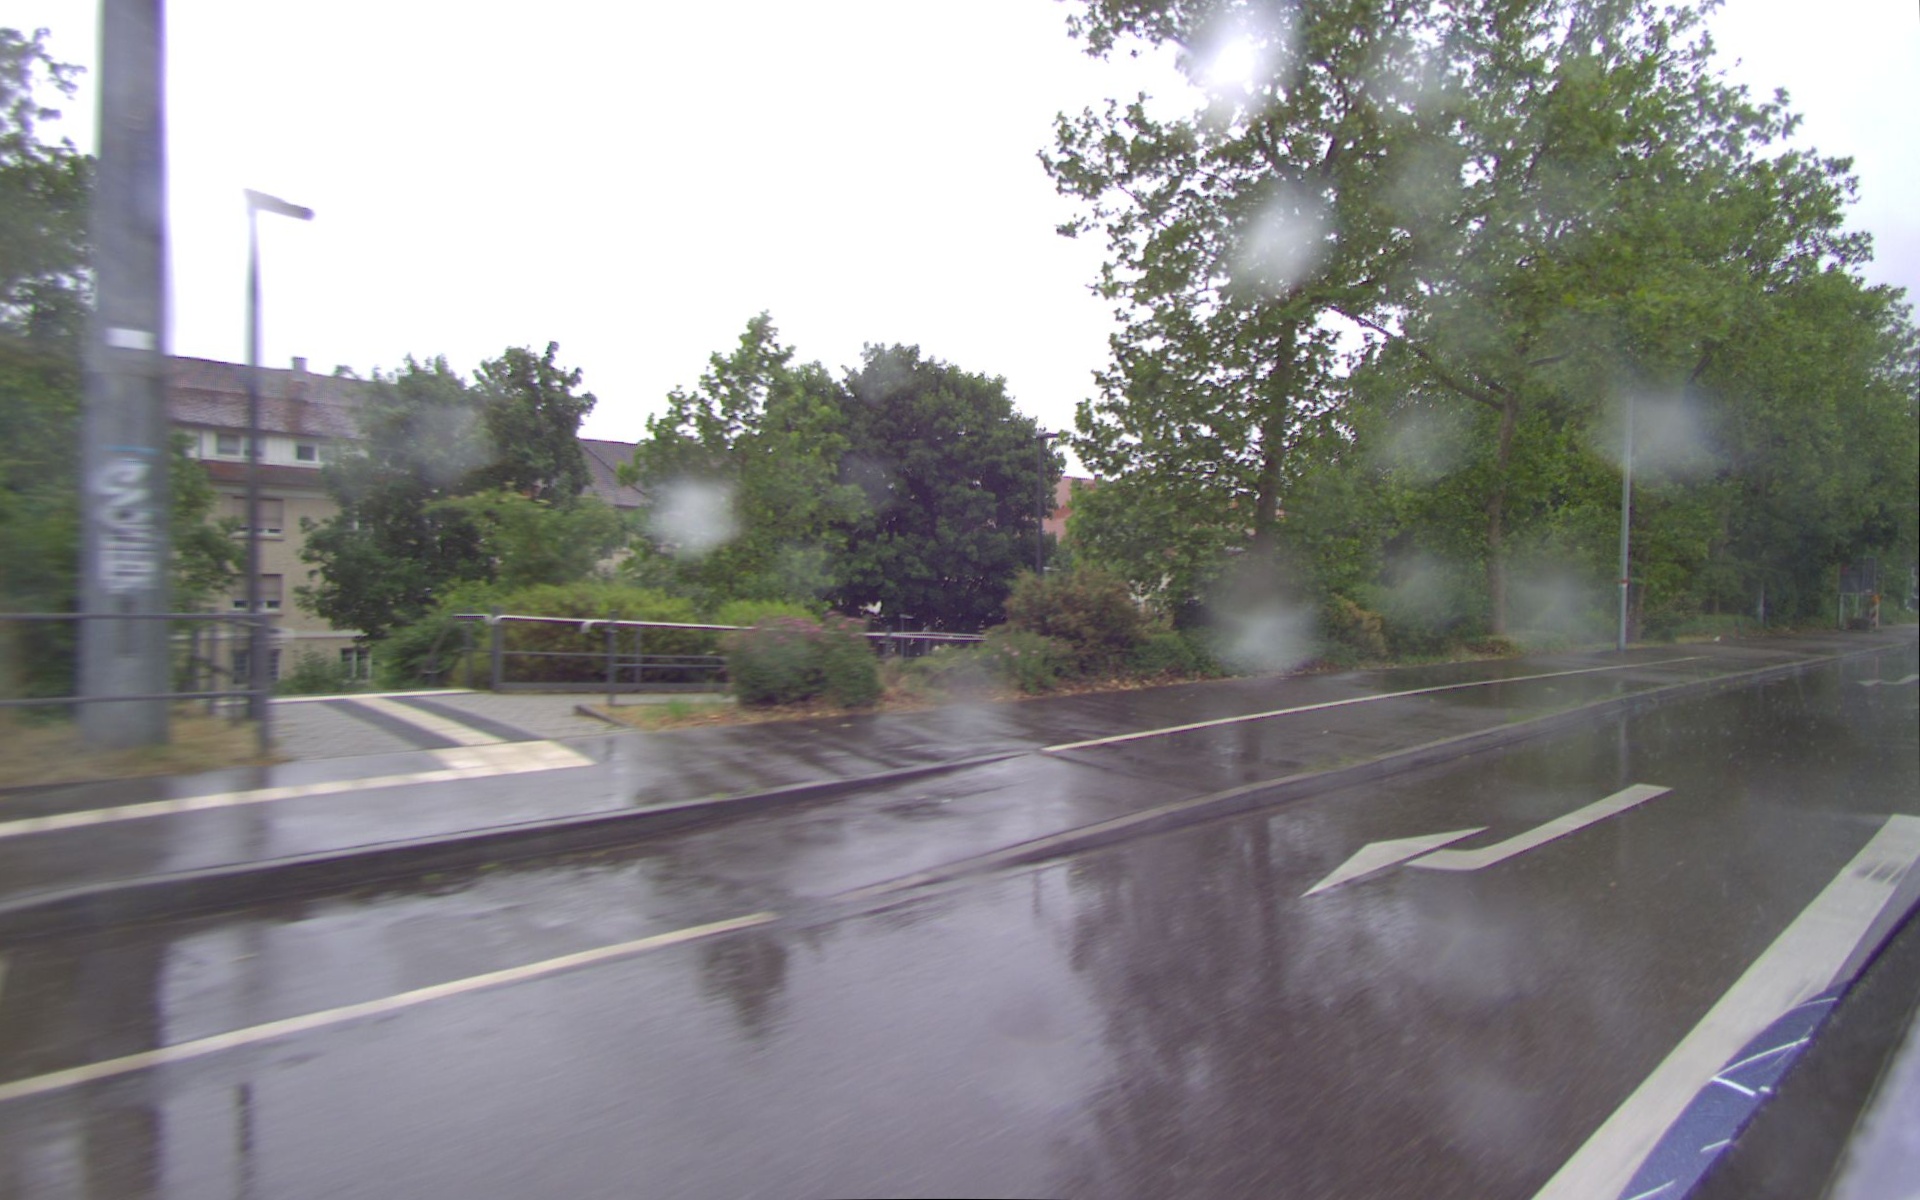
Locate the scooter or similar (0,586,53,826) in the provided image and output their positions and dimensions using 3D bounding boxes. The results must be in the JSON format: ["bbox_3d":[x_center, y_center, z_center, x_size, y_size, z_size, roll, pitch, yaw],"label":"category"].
[{"bbox_3d":[-5.970,0.578,5.406,1.617,1.309,0.761,0,1,-38],"label":"scooter or similar"}]
